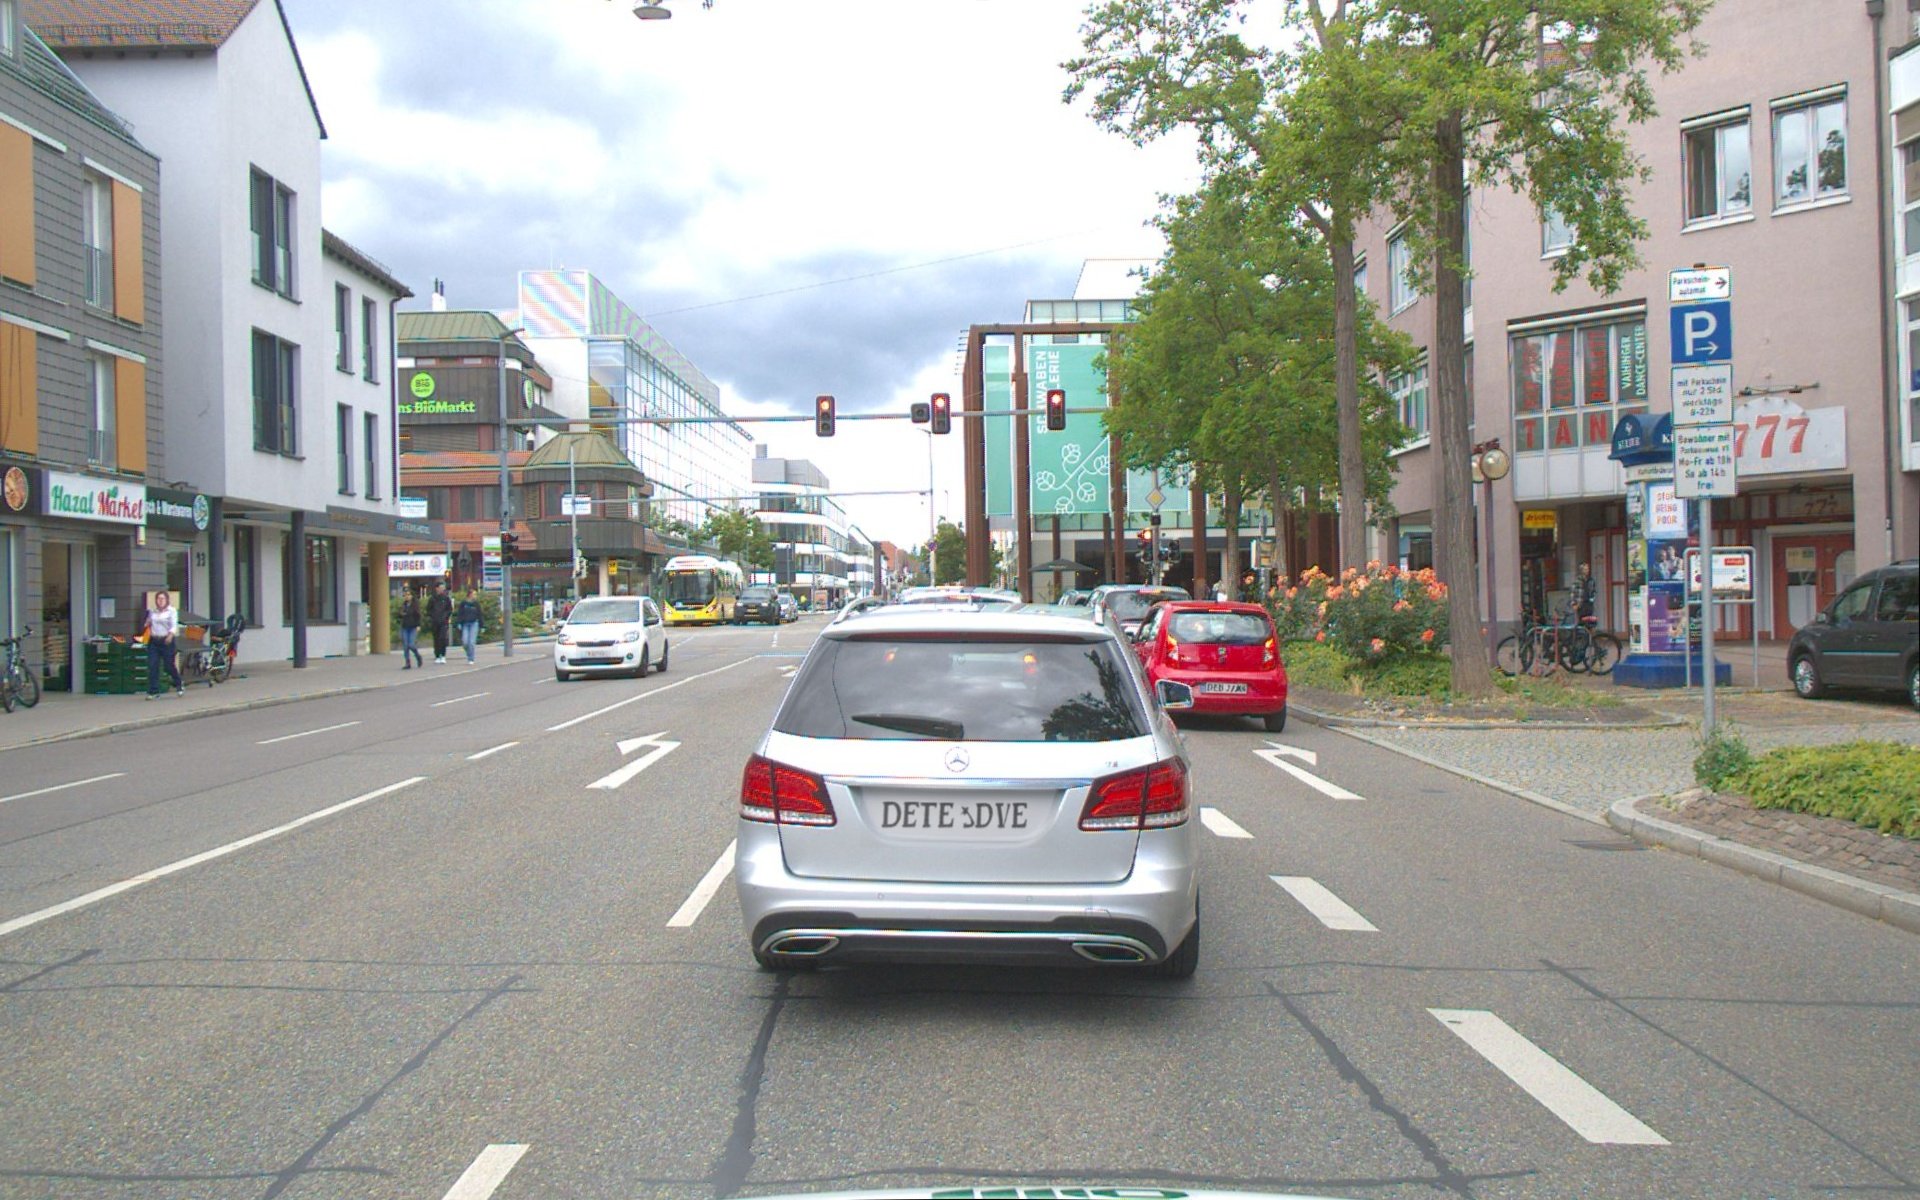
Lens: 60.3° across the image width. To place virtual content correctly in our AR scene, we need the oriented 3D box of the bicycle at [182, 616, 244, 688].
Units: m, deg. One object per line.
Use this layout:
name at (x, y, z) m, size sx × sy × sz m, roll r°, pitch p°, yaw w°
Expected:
bicycle at (-13.392, 0.911, 29.689) m, size 0.378 × 1.207 × 1.824 m, roll -1°, pitch 0°, yaw -4°

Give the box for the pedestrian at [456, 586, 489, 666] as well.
pedestrian at (-11.190, 0.587, 37.988) m, size 0.670 × 1.821 × 0.647 m, roll -1°, pitch 0°, yaw -13°

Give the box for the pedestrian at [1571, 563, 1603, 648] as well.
pedestrian at (13.902, 0.127, 36.684) m, size 0.637 × 1.866 × 0.610 m, roll -1°, pitch 0°, yaw 21°

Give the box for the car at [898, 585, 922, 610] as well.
car at (-4.165, -0.213, 136.977) m, size 1.953 × 1.983 × 4.949 m, roll -1°, pitch 0°, yaw -2°

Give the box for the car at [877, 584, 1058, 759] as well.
car at (0.044, 0.632, 16.475) m, size 1.606 × 1.554 × 3.393 m, roll 0°, pitch 0°, yaw -1°

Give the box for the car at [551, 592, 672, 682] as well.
car at (-6.386, 0.639, 30.633) m, size 1.542 × 1.514 × 3.463 m, roll -2°, pitch 0°, yaw -1°

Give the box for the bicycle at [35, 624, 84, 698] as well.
bicycle at (-14.669, 0.985, 26.957) m, size 0.380 × 1.147 × 1.285 m, roll -1°, pitch 0°, yaw -15°

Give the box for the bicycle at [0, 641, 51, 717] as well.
bicycle at (-12.985, 1.072, 22.839) m, size 0.320 × 0.970 × 1.479 m, roll -1°, pitch 0°, yaw -11°

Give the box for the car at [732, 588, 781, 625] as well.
car at (-9.880, 0.295, 80.484) m, size 1.953 × 1.735 × 4.063 m, roll -1°, pitch 0°, yaw -2°

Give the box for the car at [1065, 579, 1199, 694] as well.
car at (2.644, 0.523, 26.216) m, size 1.555 × 1.662 × 3.915 m, roll 1°, pitch 0°, yaw -2°

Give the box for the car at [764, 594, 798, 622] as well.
car at (-9.518, 0.413, 88.114) m, size 1.524 × 1.417 × 3.286 m, roll -1°, pitch 0°, yaw -2°

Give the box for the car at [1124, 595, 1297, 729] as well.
car at (2.970, 0.693, 20.164) m, size 1.554 × 1.468 × 3.348 m, roll 1°, pitch 0°, yaw -1°

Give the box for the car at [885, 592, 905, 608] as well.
car at (-6.475, 0.018, 165.571) m, size 1.763 × 1.567 × 4.065 m, roll -1°, pitch 0°, yaw 1°

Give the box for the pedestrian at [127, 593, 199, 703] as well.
pedestrian at (-12.167, 0.720, 25.276) m, size 0.713 × 1.638 × 0.753 m, roll -1°, pitch 0°, yaw -1°

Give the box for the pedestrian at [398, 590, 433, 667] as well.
pedestrian at (-11.953, 0.621, 36.300) m, size 0.640 × 1.679 × 0.557 m, roll -1°, pitch 0°, yaw -13°

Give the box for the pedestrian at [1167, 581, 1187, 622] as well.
pedestrian at (9.044, 0.070, 68.831) m, size 0.641 × 1.679 × 0.557 m, roll -1°, pitch 0°, yaw -15°

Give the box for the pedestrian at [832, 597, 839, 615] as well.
pedestrian at (-12.292, 0.588, 163.429) m, size 0.508 × 1.764 × 0.489 m, roll -1°, pitch 0°, yaw 8°

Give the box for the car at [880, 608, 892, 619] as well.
car at (-11.331, 2.012, 252.183) m, size 1.765 × 1.567 × 4.062 m, roll -1°, pitch 0°, yaw -3°

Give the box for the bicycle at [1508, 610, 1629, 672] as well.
bicycle at (10.361, 0.695, 28.201) m, size 1.861 × 1.014 × 0.468 m, roll -1°, pitch 0°, yaw 3°

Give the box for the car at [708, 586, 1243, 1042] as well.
car at (0.261, 0.709, 7.724) m, size 1.776 × 1.474 × 4.372 m, roll 1°, pitch 0°, yaw 6°

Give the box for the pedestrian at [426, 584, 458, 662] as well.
pedestrian at (-12.126, 0.528, 38.743) m, size 0.557 × 1.806 × 0.646 m, roll -1°, pitch 0°, yaw -6°

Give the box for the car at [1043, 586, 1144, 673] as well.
car at (2.611, 0.551, 33.103) m, size 1.555 × 1.623 × 3.866 m, roll 1°, pitch 0°, yaw -2°

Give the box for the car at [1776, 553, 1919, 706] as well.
car at (12.442, 0.329, 21.322) m, size 1.605 × 1.863 × 3.963 m, roll -2°, pitch 1°, yaw -5°

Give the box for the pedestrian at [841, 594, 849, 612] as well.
pedestrian at (-11.395, 0.284, 163.917) m, size 0.509 × 1.764 × 0.489 m, roll -1°, pitch 0°, yaw 23°

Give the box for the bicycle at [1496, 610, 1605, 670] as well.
bicycle at (10.258, 0.689, 28.754) m, size 1.731 × 1.014 × 0.447 m, roll -1°, pitch 0°, yaw 3°

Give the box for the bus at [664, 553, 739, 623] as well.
bus at (-12.921, -0.588, 83.197) m, size 2.632 × 3.318 × 8.650 m, roll -1°, pitch 0°, yaw -2°
